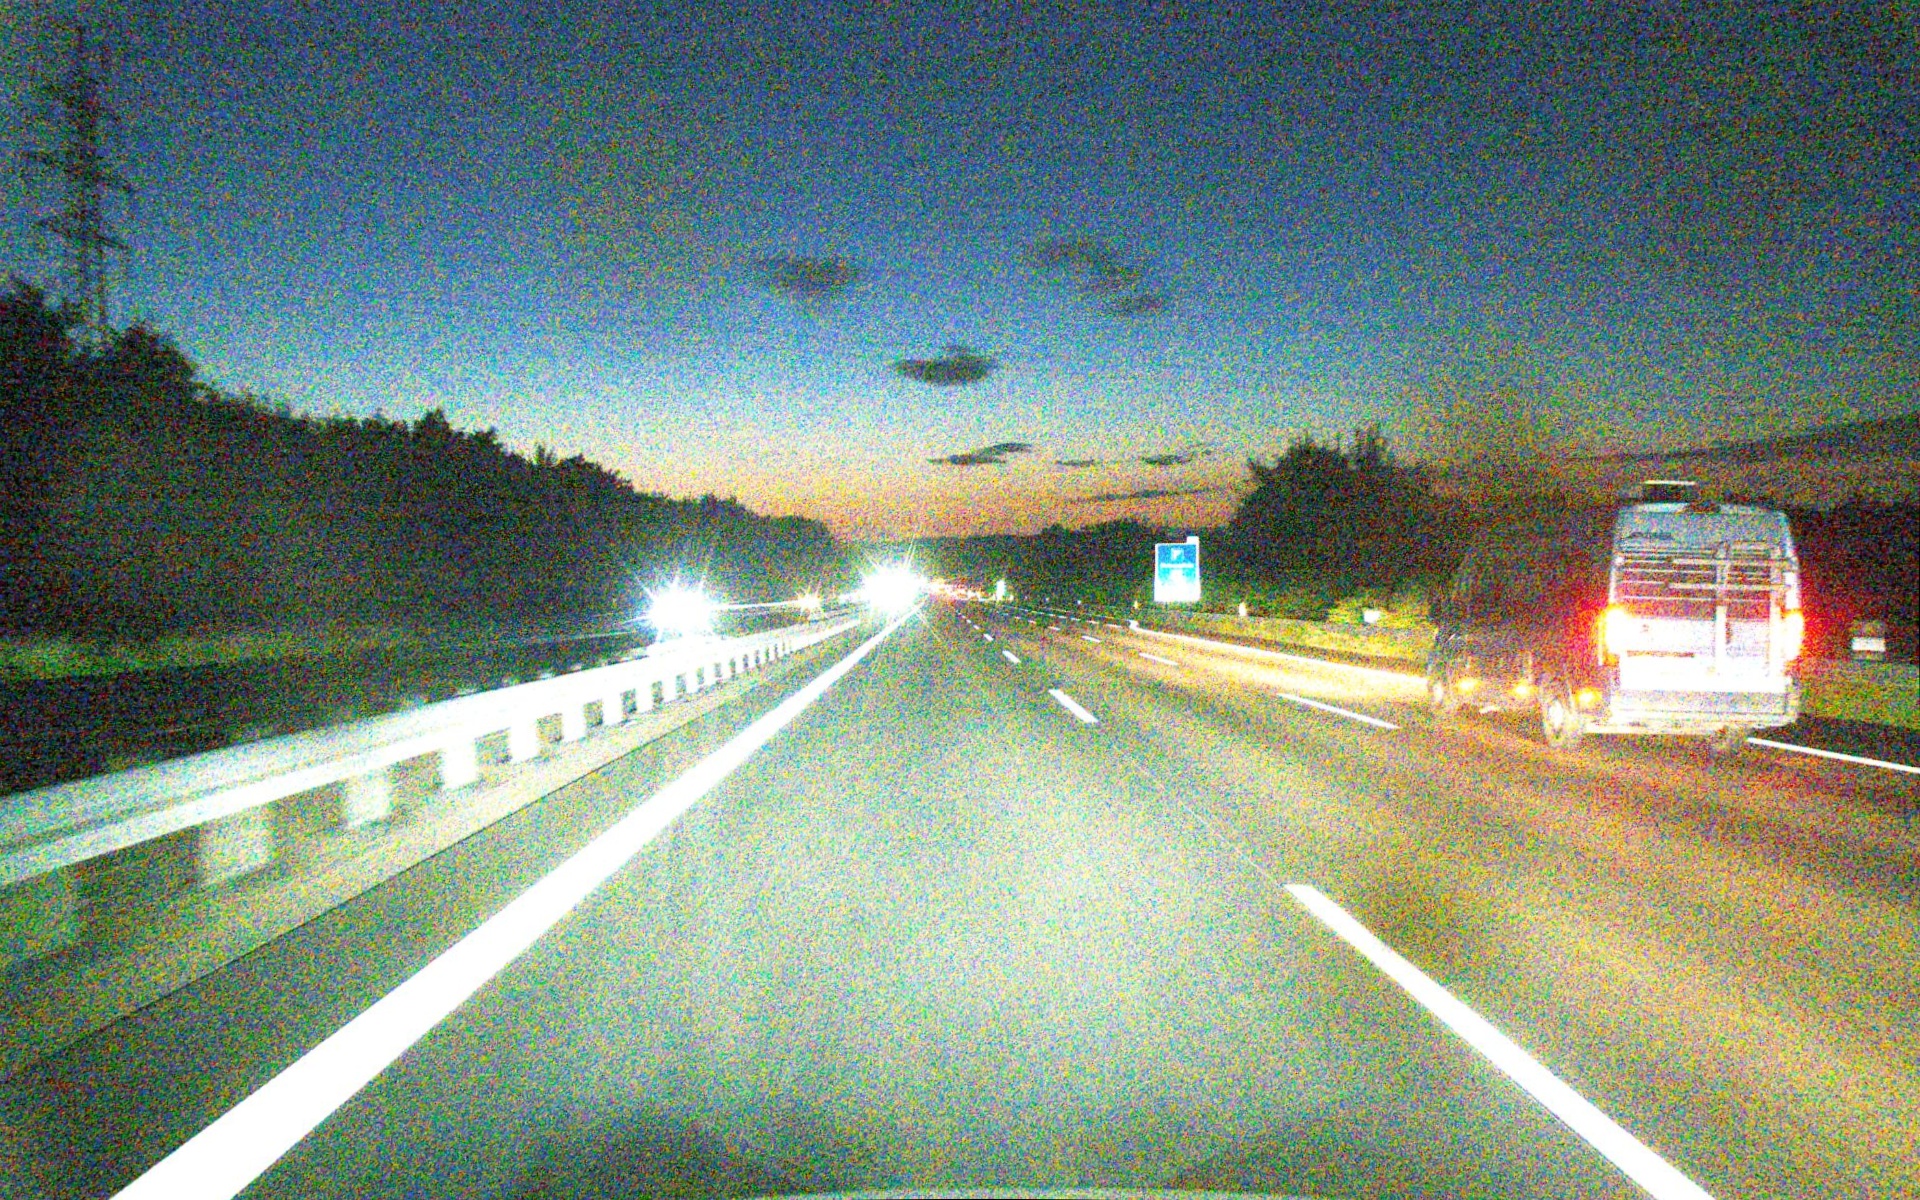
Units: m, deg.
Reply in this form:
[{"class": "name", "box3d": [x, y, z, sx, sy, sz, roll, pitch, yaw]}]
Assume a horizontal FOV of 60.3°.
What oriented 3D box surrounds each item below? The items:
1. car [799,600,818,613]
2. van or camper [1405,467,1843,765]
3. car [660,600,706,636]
[{"class": "car", "box3d": [-19.903, 0.850, 217.309, 1.953, 1.578, 5.003, -4, 0, -1]}, {"class": "van or camper", "box3d": [7.271, 0.132, 19.219, 2.162, 2.820, 6.802, 1, 0, -2]}, {"class": "car", "box3d": [-14.243, 0.897, 85.215, 1.955, 1.666, 5.068, -3, 1, -6]}]
